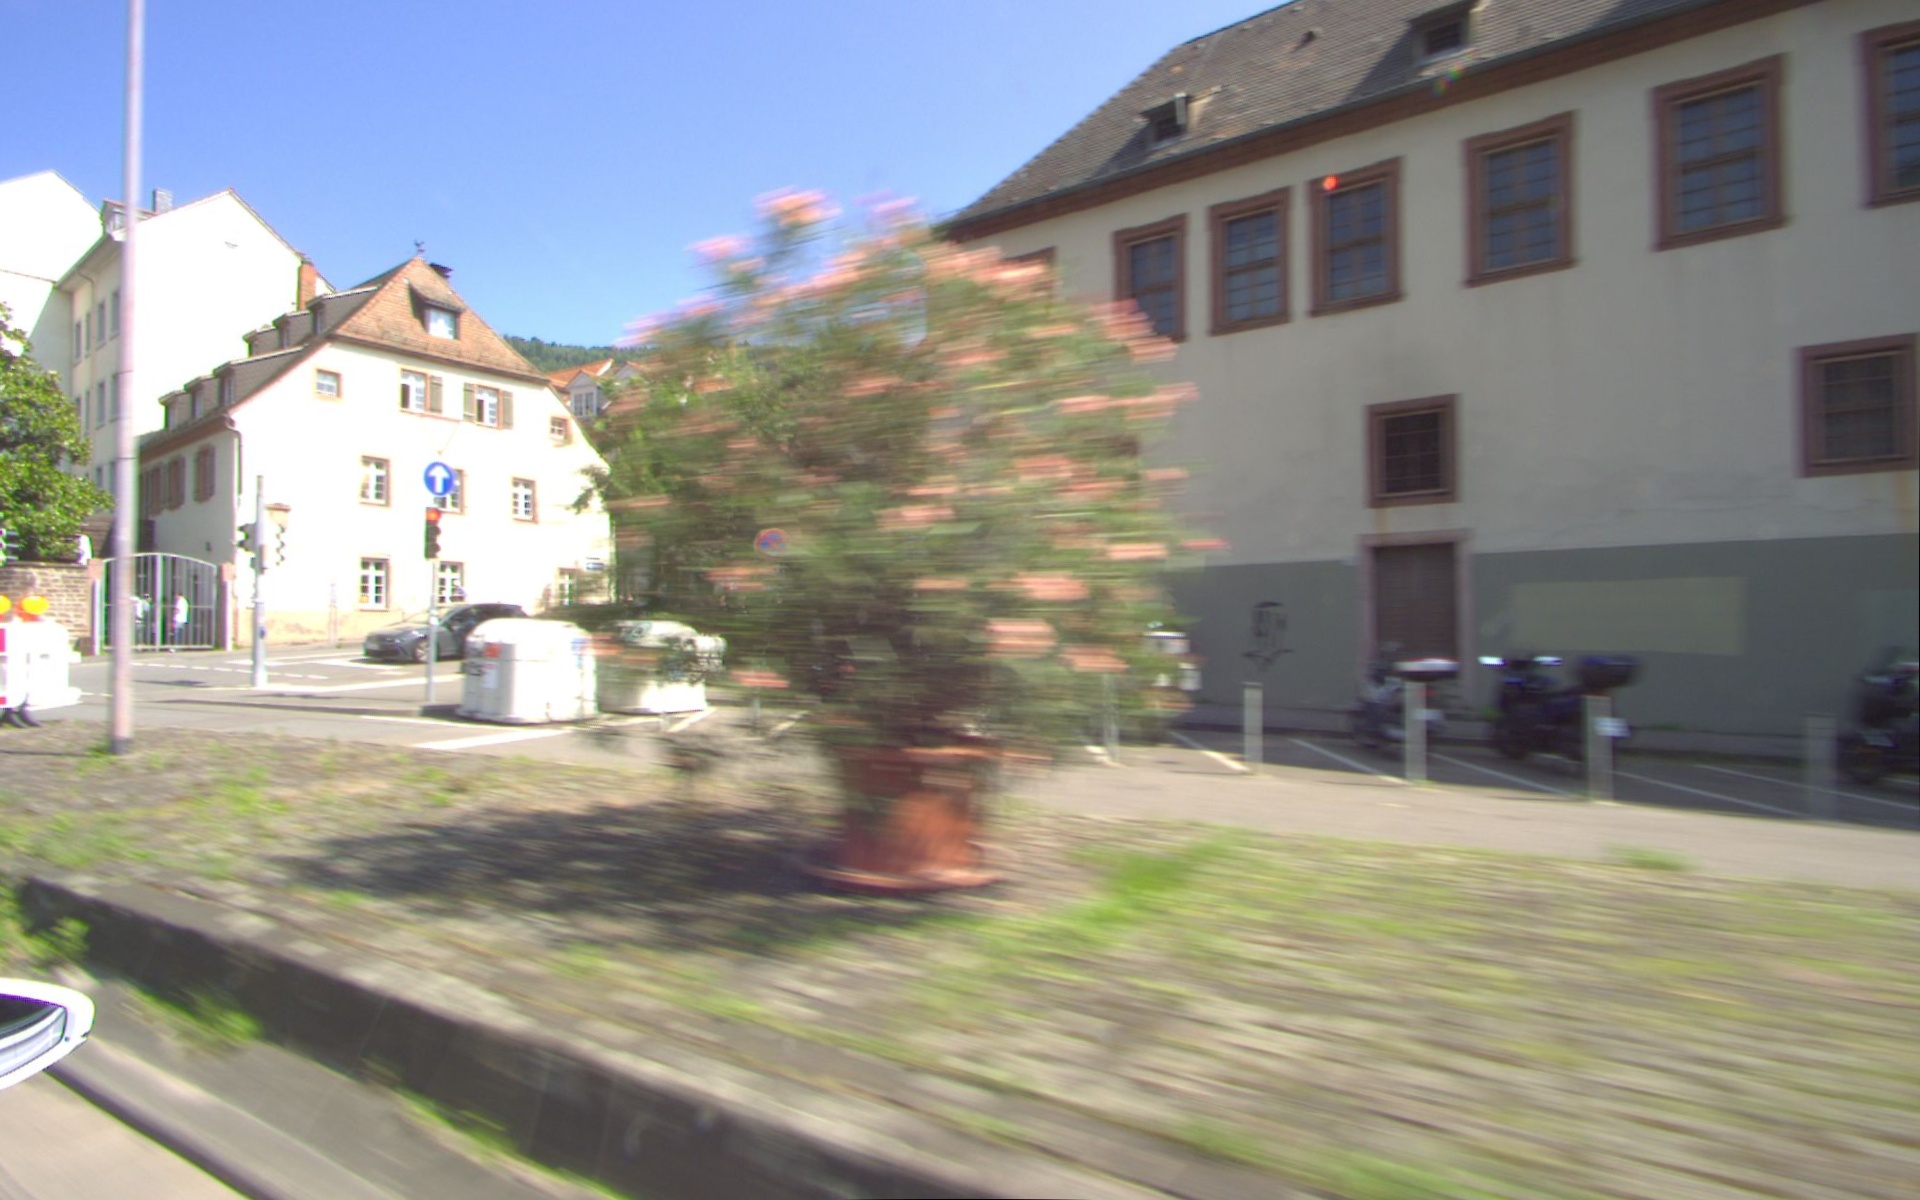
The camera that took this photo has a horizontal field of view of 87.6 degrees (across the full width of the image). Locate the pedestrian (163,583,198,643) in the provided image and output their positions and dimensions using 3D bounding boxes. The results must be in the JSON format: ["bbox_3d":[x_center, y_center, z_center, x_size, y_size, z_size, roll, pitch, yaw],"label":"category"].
[{"bbox_3d":[-22.809,0.379,29.297,0.698,1.728,0.722,0,0,-30],"label":"pedestrian"}]

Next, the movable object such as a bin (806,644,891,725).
[{"bbox_3d":[-1.729,1.304,16.150,1.234,1.124,2.956,0,-1,-4],"label":"movable object such as a bin"}]

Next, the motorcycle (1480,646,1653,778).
[{"bbox_3d":[6.636,1.169,11.117,0.616,1.283,2.199,0,-1,1],"label":"motorcycle"}]

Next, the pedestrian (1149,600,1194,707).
[{"bbox_3d":[3.758,0.948,17.820,0.610,1.846,0.493,-2,-1,33],"label":"pedestrian"}]

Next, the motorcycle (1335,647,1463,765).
[{"bbox_3d":[5.275,1.222,12.187,0.616,1.268,2.237,0,-1,1],"label":"motorcycle"}]

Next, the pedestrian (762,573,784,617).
[{"bbox_3d":[-7.377,-0.183,39.574,0.654,1.705,0.451,1,4,35],"label":"pedestrian"}]

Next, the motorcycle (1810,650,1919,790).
[{"bbox_3d":[9.407,1.146,9.545,0.768,1.283,2.184,0,-1,1],"label":"motorcycle"}]

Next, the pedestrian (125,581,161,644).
[{"bbox_3d":[-22.785,0.351,27.939,0.716,1.728,0.703,0,0,-35],"label":"pedestrian"}]

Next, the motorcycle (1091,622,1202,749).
[{"bbox_3d":[2.513,1.101,13.857,1.033,1.553,2.497,0,0,-1],"label":"motorcycle"}]

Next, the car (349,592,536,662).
[{"bbox_3d":[-13.434,0.639,26.216,1.833,1.507,3.978,4,4,31],"label":"car"}]

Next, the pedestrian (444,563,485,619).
[{"bbox_3d":[-16.496,-0.304,33.338,0.852,1.817,0.921,1,2,35],"label":"pedestrian"}]
